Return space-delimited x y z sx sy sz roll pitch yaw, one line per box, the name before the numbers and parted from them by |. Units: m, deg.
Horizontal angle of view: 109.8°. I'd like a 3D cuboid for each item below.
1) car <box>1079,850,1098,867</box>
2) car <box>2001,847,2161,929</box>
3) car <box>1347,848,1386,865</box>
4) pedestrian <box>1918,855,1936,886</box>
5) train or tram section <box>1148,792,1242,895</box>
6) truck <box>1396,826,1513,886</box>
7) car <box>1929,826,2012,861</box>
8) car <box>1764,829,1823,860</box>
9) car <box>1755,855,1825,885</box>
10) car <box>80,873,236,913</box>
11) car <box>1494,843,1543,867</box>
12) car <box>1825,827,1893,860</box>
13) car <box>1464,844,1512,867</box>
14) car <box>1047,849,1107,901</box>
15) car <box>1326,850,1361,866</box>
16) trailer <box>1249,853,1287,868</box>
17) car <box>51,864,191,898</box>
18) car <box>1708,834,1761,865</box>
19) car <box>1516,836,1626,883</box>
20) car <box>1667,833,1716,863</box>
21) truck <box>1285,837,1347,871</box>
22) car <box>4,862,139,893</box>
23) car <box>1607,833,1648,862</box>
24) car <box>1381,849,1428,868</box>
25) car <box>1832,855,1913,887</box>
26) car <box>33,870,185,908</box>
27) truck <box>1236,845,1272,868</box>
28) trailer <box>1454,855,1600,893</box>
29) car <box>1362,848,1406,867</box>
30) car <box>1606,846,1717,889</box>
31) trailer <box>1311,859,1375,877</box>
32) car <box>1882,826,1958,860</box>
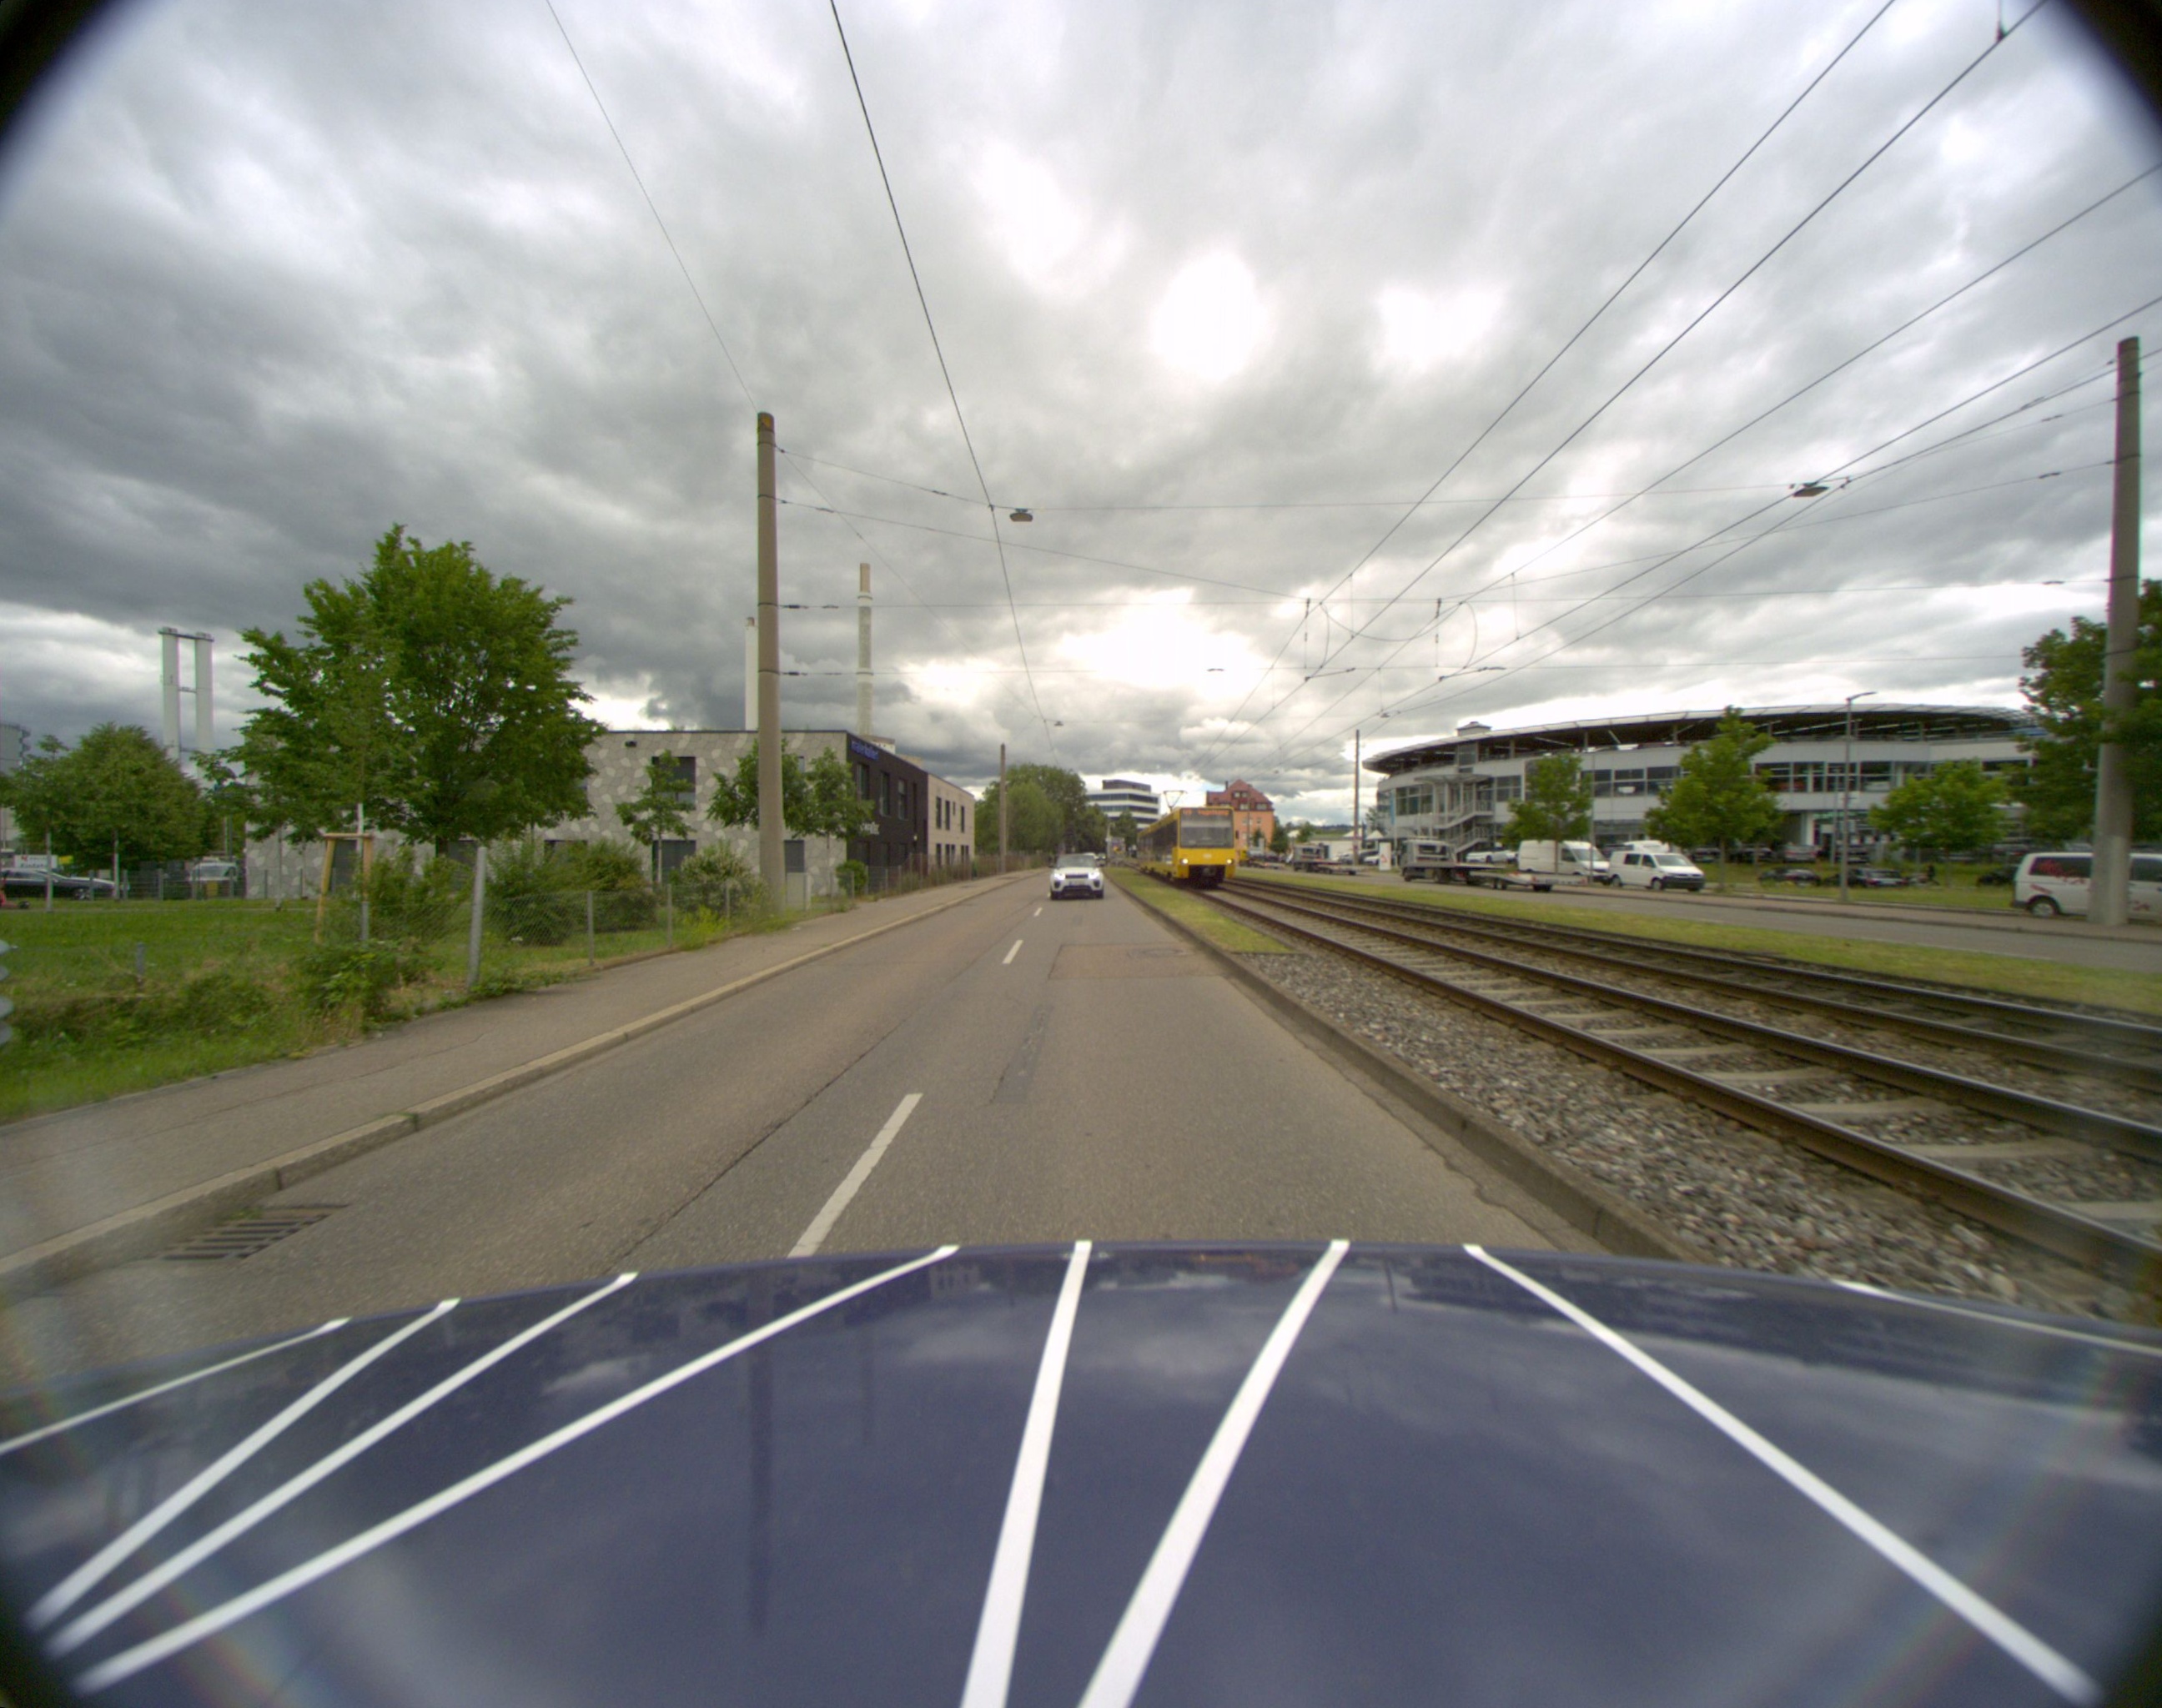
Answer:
car | 0.831 0.485 86.053 1.999 1.881 4.626 0 0 -1
car | 27.424 0.827 19.469 1.998 2.002 4.862 0 0 4
car | 32.599 0.302 86.954 3.993 1.936 2.002 0 0 13
pedestrian | 41.603 0.803 37.378 0.499 1.516 0.614 1 1 40
train or tram section | 5.286 -0.500 38.778 3.395 3.984 16.947 -2 1 4
truck | 20.751 0.106 42.889 2.870 2.964 8.457 2 0 4
car | 54.162 -0.633 46.364 1.994 2.002 4.008 0 1 29
car | 48.529 -0.652 51.833 1.994 2.002 4.008 0 1 29
car | 39.710 0.860 42.684 1.673 1.608 3.722 0 0 22
car | -41.592 1.697 34.386 1.994 1.575 4.386 0 0 39
car | 38.454 0.068 66.795 4.006 2.002 1.995 0 0 -30
car | 49.762 -0.664 48.704 1.994 2.002 4.008 0 1 29
car | 36.539 0.090 68.168 4.006 2.002 1.995 0 0 -30
car | -0.062 0.731 28.171 1.998 1.717 4.001 -2 0 2
car | 32.855 0.492 95.016 3.990 1.936 2.003 0 0 23
trailer | 22.229 0.789 90.730 2.984 1.678 7.570 0 0 3
car | -49.153 1.326 39.058 1.994 1.575 4.386 0 0 39
car | 44.565 -0.328 51.915 1.994 2.002 4.008 0 1 29
car | 28.313 0.315 44.207 2.000 2.546 5.858 0 0 -8
car | 42.288 -0.397 52.730 1.994 2.002 4.008 0 0 30
truck | 21.659 0.008 70.561 3.114 2.904 8.962 2 0 1
car | -55.547 1.259 41.953 1.994 1.575 4.386 0 0 39
car | 39.412 -0.433 54.880 1.994 2.002 4.008 0 0 30
car | 33.023 0.436 77.558 4.001 1.936 1.998 0 0 -11
car | 41.854 0.870 40.274 1.673 1.608 3.722 0 0 24
car | -46.349 1.623 36.398 1.994 1.575 4.386 0 0 39
truck | 22.449 0.284 99.057 3.056 2.842 9.068 0 0 2
trailer | 20.227 0.822 35.055 2.764 1.486 7.227 2 0 3
car | 32.314 0.368 81.088 4.001 1.936 1.998 0 0 -11
car | 28.787 0.634 37.910 1.998 2.002 4.808 0 0 3
trailer | 21.425 1.132 62.582 3.056 1.270 7.007 2 0 2
car | 52.339 -0.667 47.505 1.994 2.002 4.008 0 1 29
